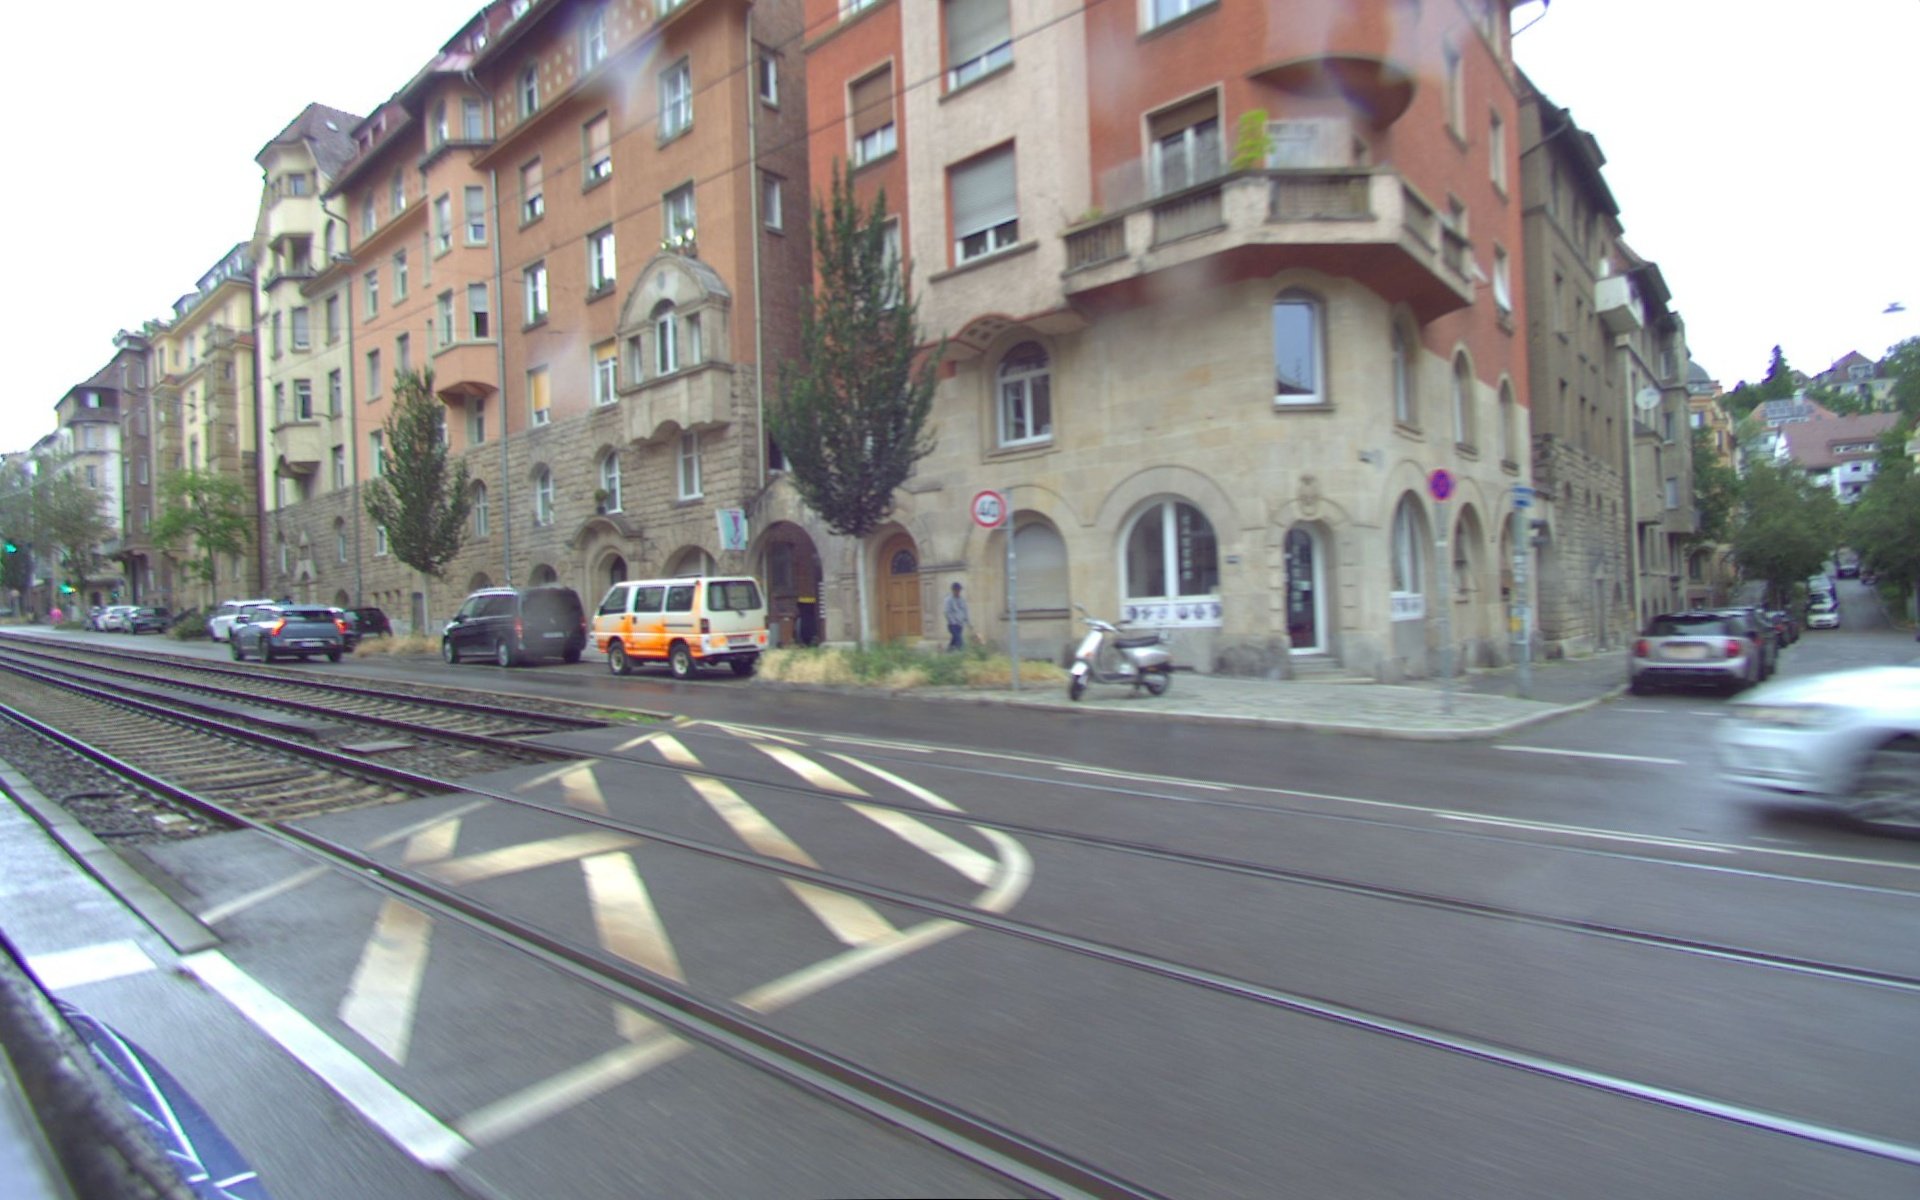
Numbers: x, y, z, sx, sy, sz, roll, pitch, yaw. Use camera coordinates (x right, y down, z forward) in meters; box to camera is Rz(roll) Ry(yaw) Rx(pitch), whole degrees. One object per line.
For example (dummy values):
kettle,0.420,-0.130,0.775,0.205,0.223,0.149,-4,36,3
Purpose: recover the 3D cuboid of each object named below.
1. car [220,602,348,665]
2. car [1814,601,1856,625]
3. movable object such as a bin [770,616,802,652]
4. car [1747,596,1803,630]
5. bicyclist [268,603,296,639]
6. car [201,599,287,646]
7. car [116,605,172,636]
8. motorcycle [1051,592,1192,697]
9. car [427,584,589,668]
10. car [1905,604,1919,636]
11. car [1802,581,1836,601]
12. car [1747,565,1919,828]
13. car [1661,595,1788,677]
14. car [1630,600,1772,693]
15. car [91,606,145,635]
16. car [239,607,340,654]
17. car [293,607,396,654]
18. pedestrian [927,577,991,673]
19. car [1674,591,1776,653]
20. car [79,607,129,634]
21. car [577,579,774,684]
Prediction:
car,-18.931,0.875,28.282,4.125,1.629,1.902,0,0,40
car,59.460,0.860,68.807,1.998,1.586,3.948,0,0,39
movable object such as a bin,-4.469,0.862,25.997,0.656,0.905,0.540,0,0,44
car,40.101,0.608,49.745,1.999,1.586,3.945,0,0,41
bicyclist,-30.945,0.939,46.184,0.774,1.613,0.883,0,0,41
car,-28.658,0.860,40.463,4.257,1.684,1.737,0,3,41
car,-42.609,1.042,52.842,3.712,1.493,1.695,0,3,43
motorcycle,2.224,0.589,13.959,1.754,1.385,0.770,0,0,-17
car,-11.502,0.602,25.599,4.829,1.945,1.886,0,0,41
car,49.716,1.015,51.667,1.999,1.586,3.945,0,0,41
car,70.616,-0.744,83.258,1.998,1.586,3.948,0,0,39
car,7.022,0.551,5.695,4.059,1.514,1.763,0,0,40
car,16.297,0.692,21.642,1.997,1.586,3.950,0,0,37
car,13.408,0.748,18.227,1.746,1.478,3.945,0,0,41
car,-47.116,1.113,56.594,4.043,1.462,1.736,0,3,43
car,-24.384,1.060,36.747,4.593,1.502,1.738,0,2,39
car,-20.520,0.975,33.723,3.690,1.414,1.738,0,2,38
pedestrian,-0.018,0.457,19.315,0.892,1.732,0.710,0,5,41
car,21.447,0.568,28.318,1.999,1.586,3.945,0,0,41
car,-50.657,1.182,59.879,3.712,1.438,1.737,0,3,43
car,-5.940,0.594,20.890,4.472,1.945,1.711,0,0,40
